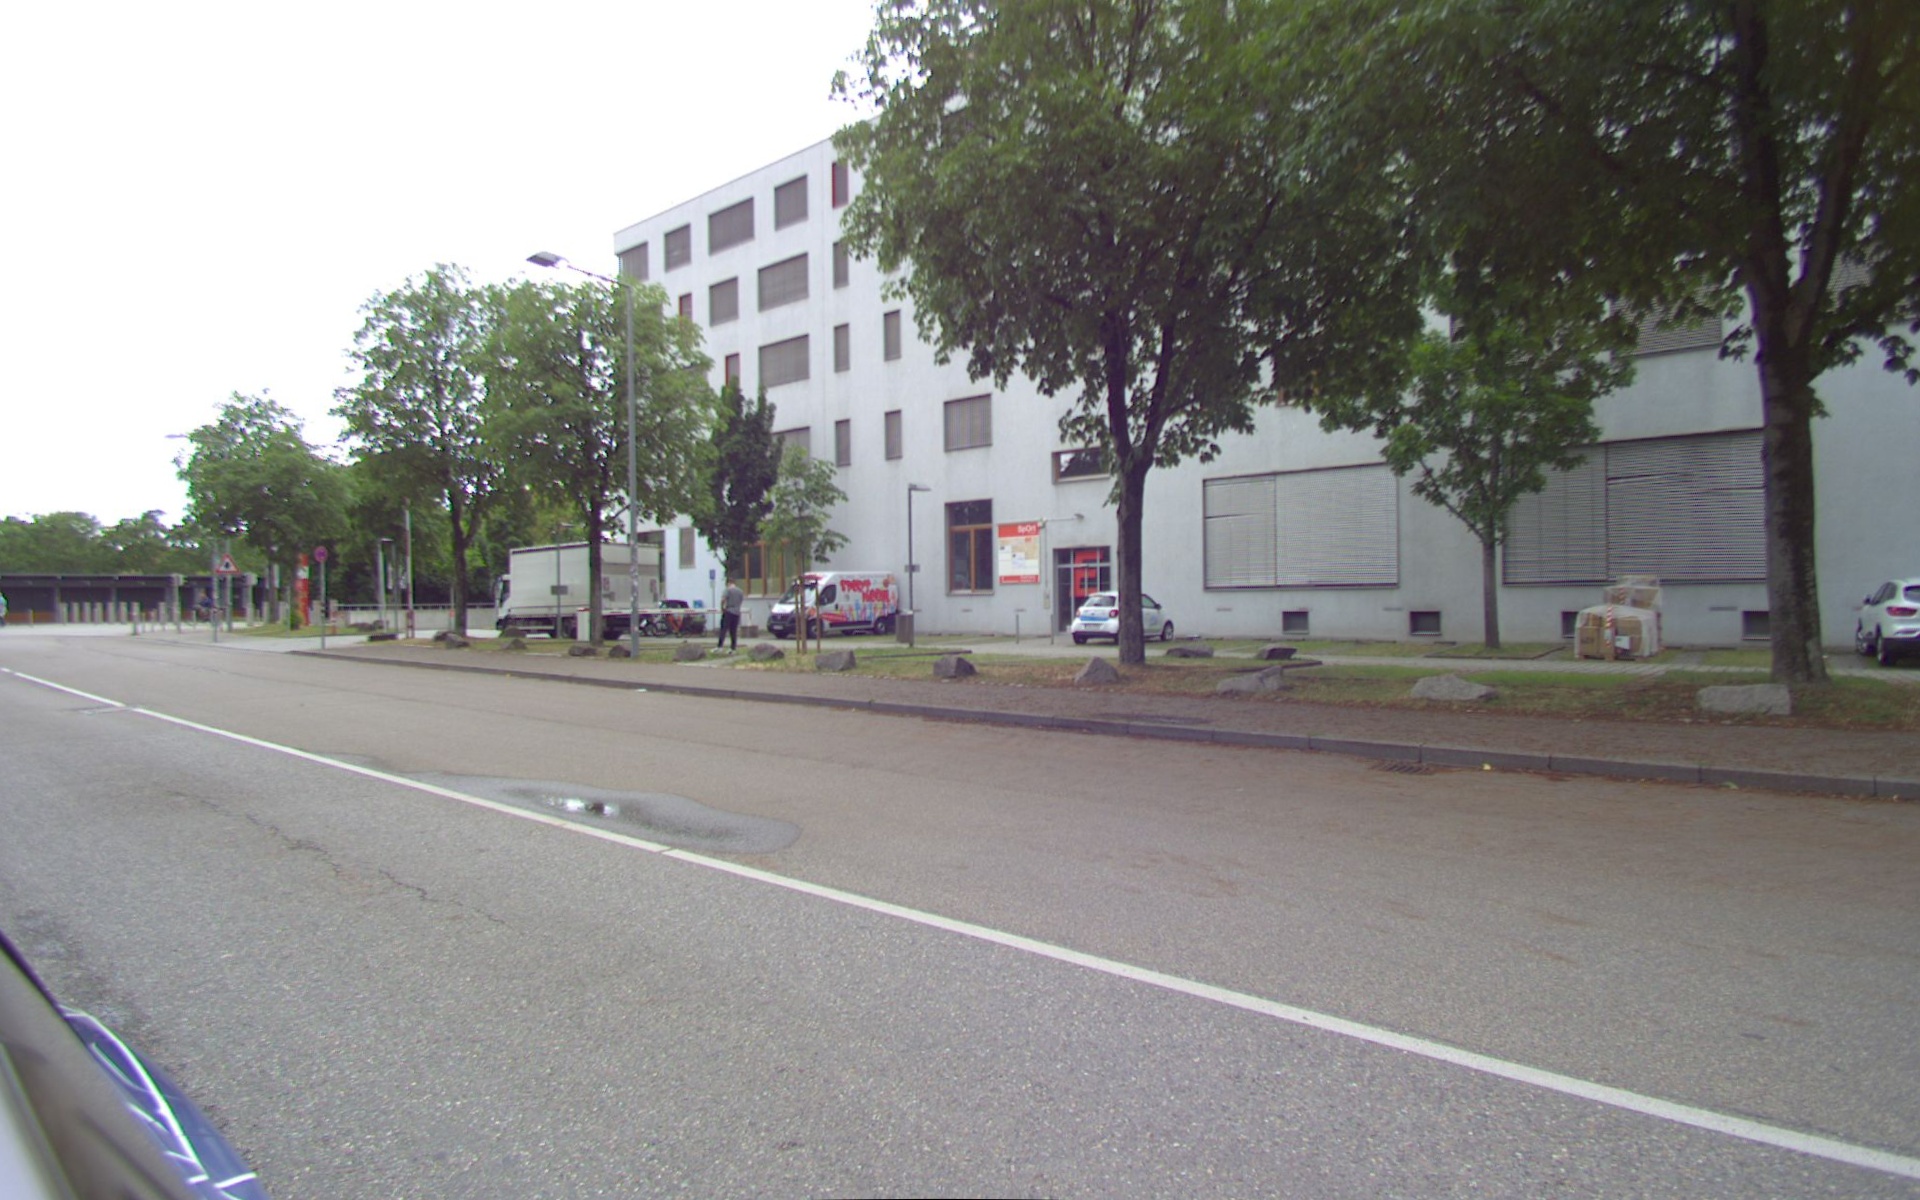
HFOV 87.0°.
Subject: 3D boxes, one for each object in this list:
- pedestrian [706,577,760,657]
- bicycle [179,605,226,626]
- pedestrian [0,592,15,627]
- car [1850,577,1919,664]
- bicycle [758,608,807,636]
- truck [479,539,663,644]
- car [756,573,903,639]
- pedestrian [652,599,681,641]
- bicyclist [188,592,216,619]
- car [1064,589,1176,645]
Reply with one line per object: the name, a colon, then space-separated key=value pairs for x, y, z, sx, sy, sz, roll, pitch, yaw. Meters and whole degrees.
pedestrian: x=-4.937 y=0.354 z=21.985 sx=0.844 sy=1.684 sz=0.777 roll=0 pitch=1 yaw=35
bicycle: x=-43.993 y=0.902 z=58.777 sx=0.777 sy=1.152 sz=2.025 roll=1 pitch=2 yaw=39
pedestrian: x=-51.446 y=0.501 z=54.208 sx=0.928 sy=1.847 sz=1.184 roll=2 pitch=2 yaw=44
car: x=17.940 y=0.314 z=18.659 sx=1.896 sy=1.467 sz=3.962 roll=0 pitch=2 yaw=36
bicycle: x=-7.248 y=0.882 z=41.445 sx=0.614 sy=1.078 sz=2.002 roll=1 pitch=2 yaw=44
truck: x=-15.053 y=-0.354 z=38.801 sx=8.354 sy=3.627 sz=2.651 roll=1 pitch=1 yaw=38
car: x=-4.808 y=0.161 z=38.049 sx=2.078 sy=2.296 sz=5.569 roll=1 pitch=1 yaw=40
pedestrian: x=-11.488 y=0.764 z=39.586 sx=0.885 sy=1.618 sz=0.672 roll=0 pitch=1 yaw=34
bicyclist: x=-44.002 y=0.325 z=58.755 sx=0.927 sy=1.507 sz=1.087 roll=1 pitch=2 yaw=39
car: x=4.766 y=0.447 z=29.855 sx=1.691 sy=1.511 sz=3.575 roll=1 pitch=2 yaw=40
